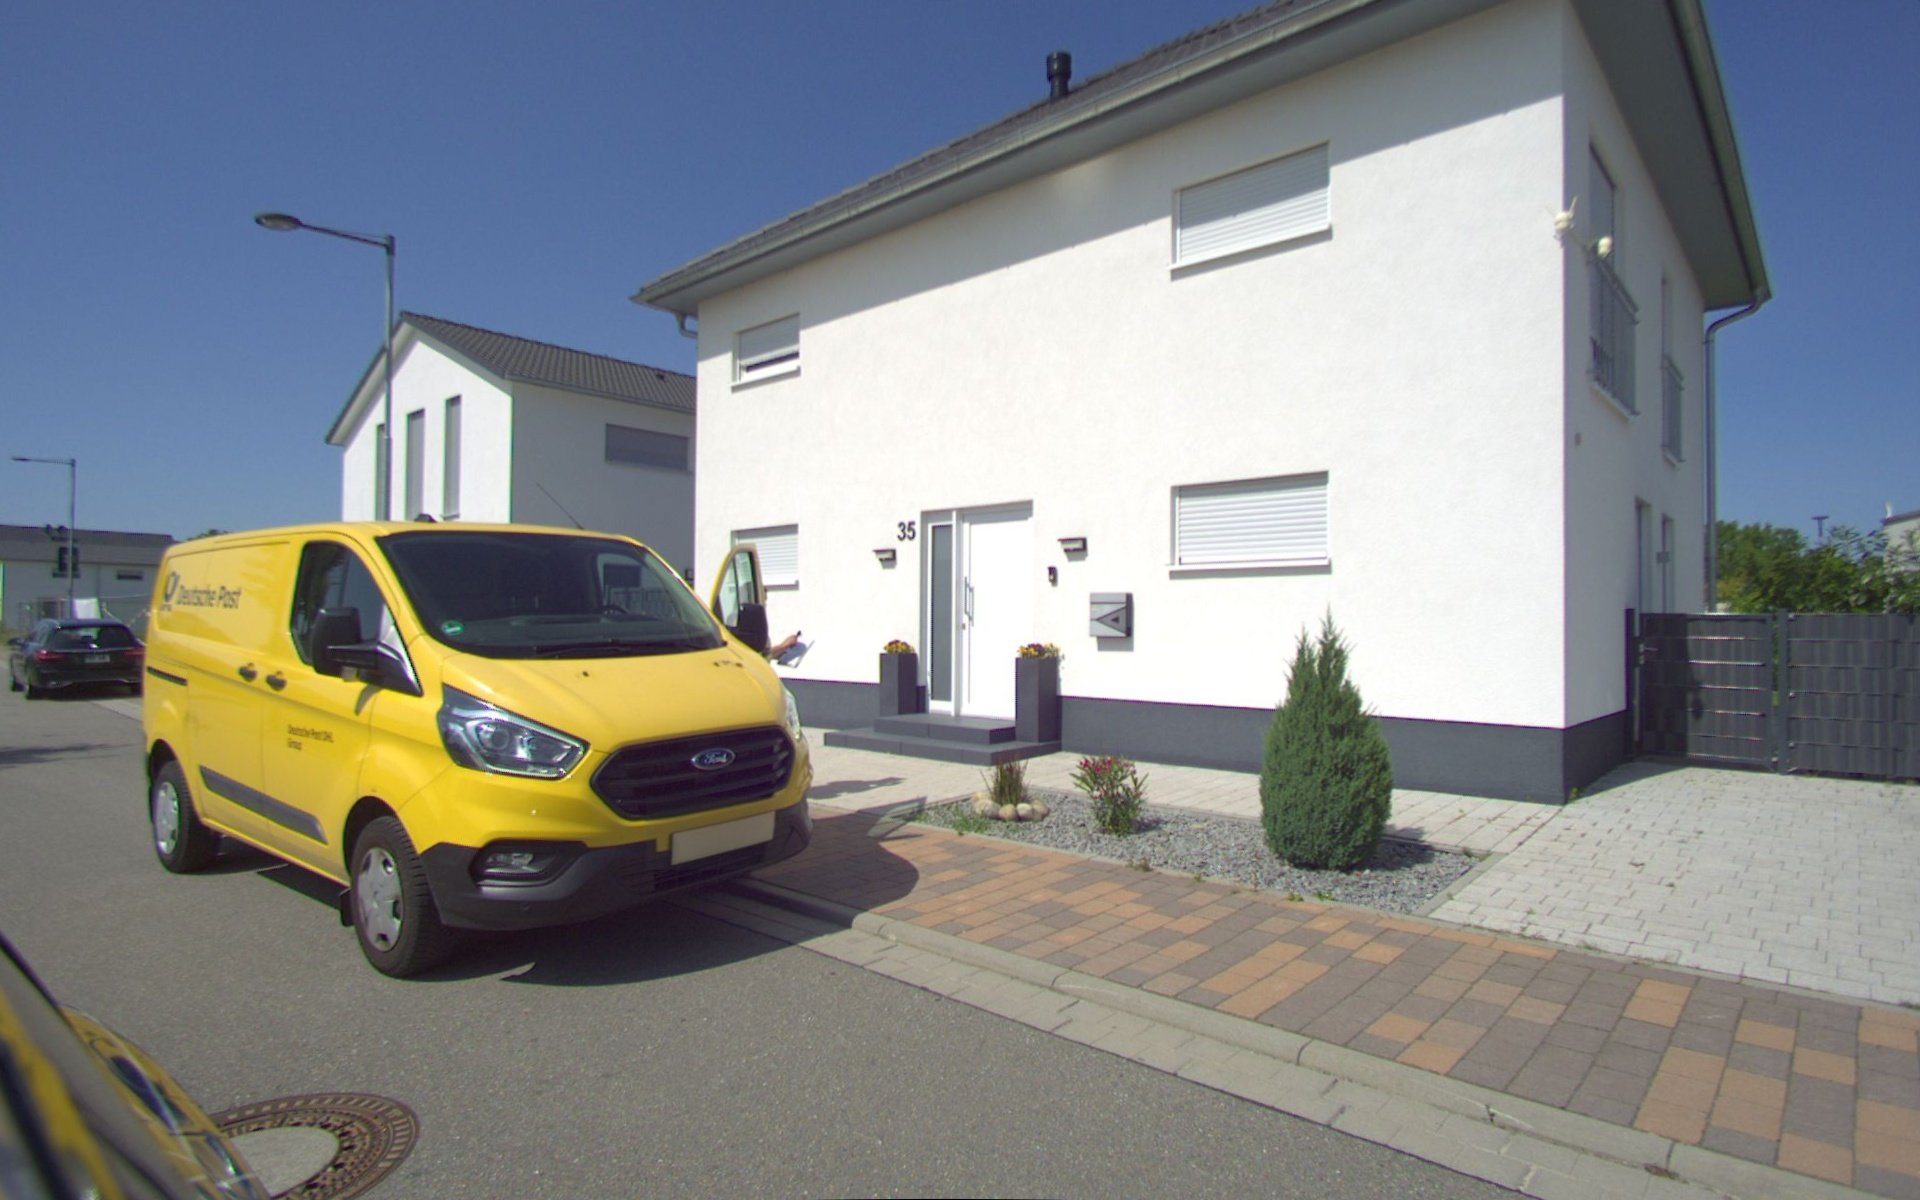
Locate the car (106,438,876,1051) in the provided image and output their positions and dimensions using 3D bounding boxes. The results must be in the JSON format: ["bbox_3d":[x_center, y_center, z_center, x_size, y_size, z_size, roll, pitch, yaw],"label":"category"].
[{"bbox_3d":[-2.876,0.515,5.589,4.834,2.029,1.866,-1,-1,38],"label":"car"}]

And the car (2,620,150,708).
[{"bbox_3d":[-17.164,1.145,19.574,4.444,1.484,1.672,-1,-1,42],"label":"car"}]

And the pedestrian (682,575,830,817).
[{"bbox_3d":[-1.533,0.673,7.637,0.918,1.698,0.538,-1,0,-39],"label":"pedestrian"}]
